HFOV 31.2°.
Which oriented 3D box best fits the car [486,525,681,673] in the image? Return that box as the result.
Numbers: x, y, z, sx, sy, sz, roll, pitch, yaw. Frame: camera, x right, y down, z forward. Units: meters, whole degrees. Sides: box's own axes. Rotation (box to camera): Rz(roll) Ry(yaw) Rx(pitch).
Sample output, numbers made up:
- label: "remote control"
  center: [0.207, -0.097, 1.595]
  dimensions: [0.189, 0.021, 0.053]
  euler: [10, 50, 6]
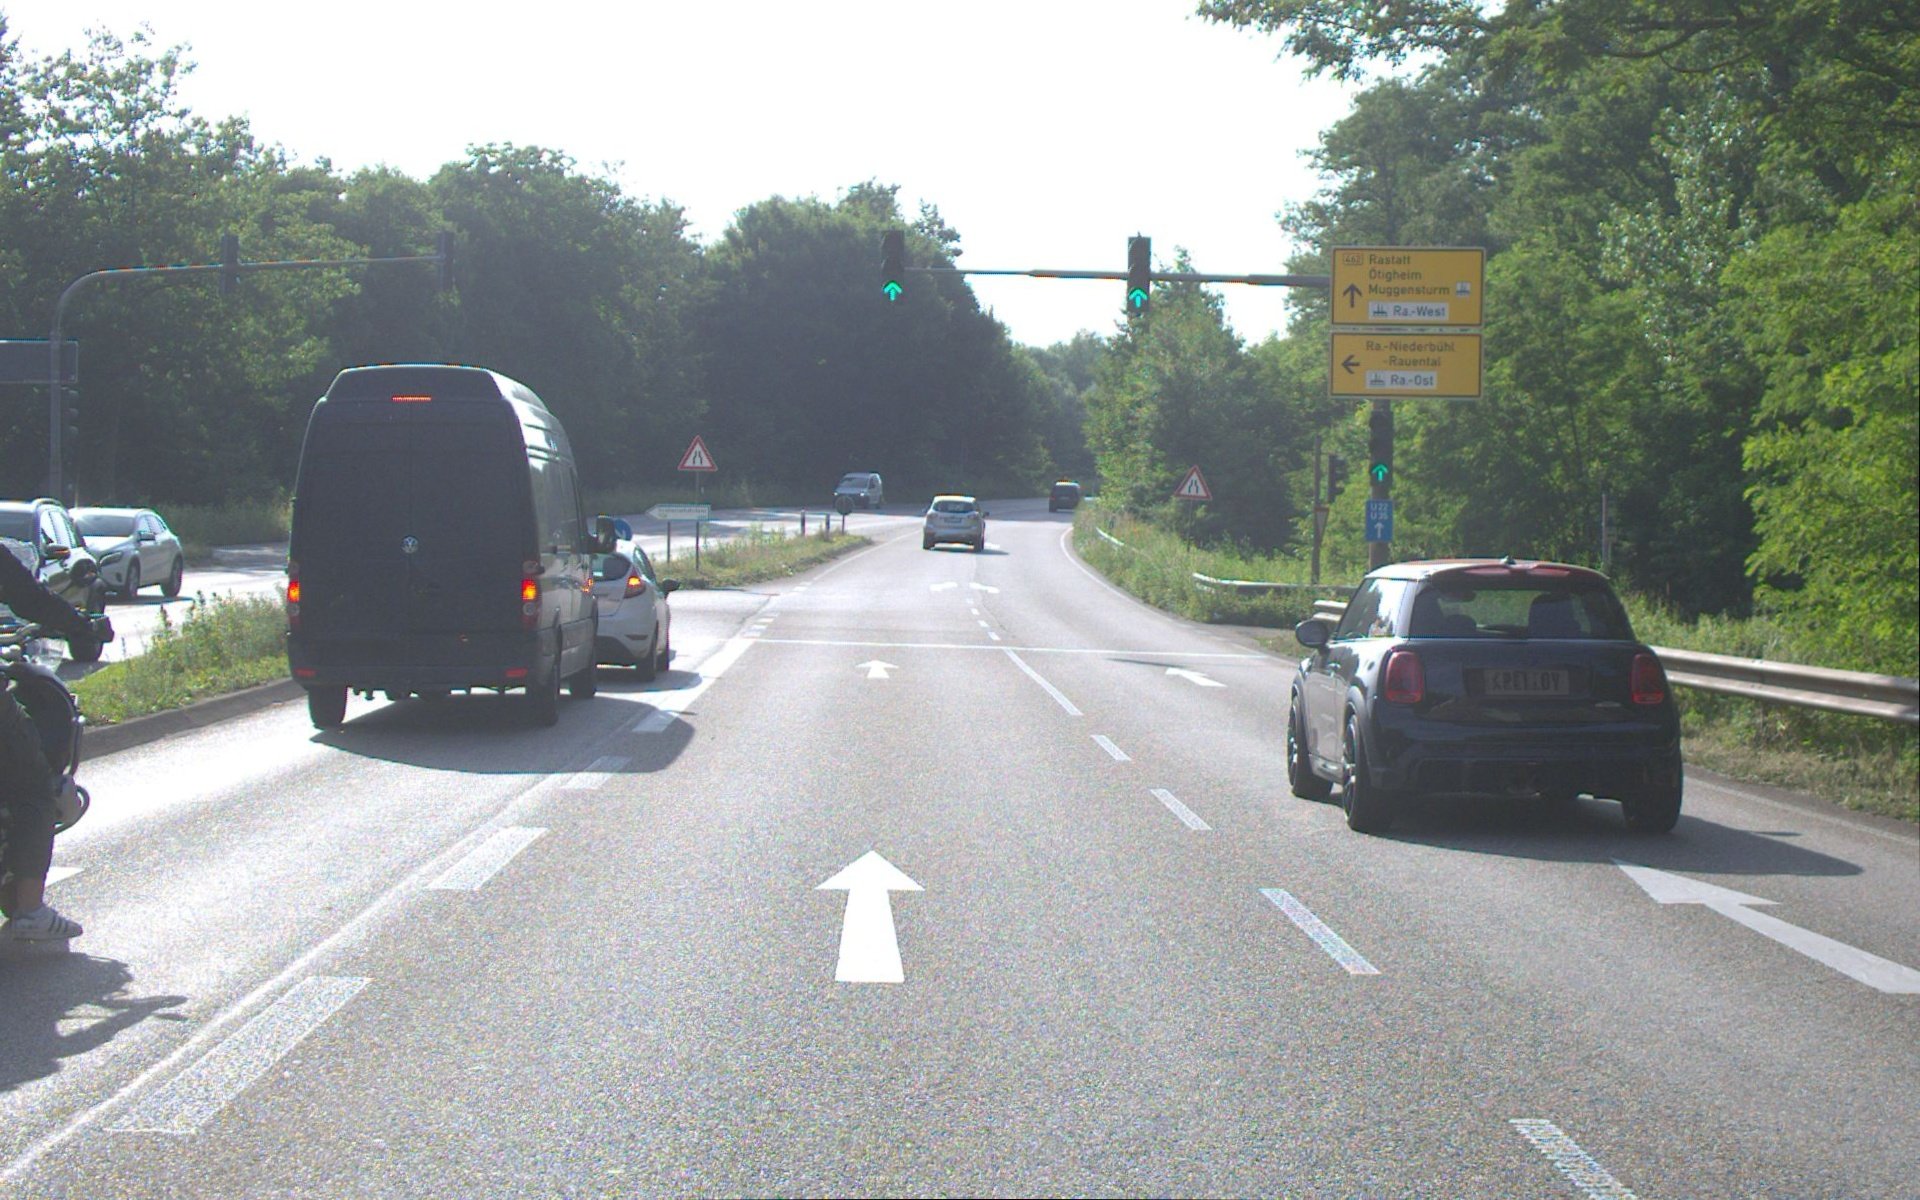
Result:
- label: "car"
  center: [-3.951, -0.055, 36.622]
  dimensions: [1.645, 1.484, 4.104]
  euler: [0, 1, 0]

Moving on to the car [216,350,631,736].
- label: "car"
  center: [-4.335, -0.507, 29.145]
  dimensions: [2.210, 2.878, 7.011]
  euler: [0, 1, 2]

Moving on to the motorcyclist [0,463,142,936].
- label: "motorcyclist"
  center: [-3.607, 0.307, 12.374]
  dimensions: [0.884, 1.610, 1.290]
  euler: [3, 1, 4]

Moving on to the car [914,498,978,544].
- label: "car"
  center: [-0.422, -2.483, 108.146]
  dimensions: [1.761, 1.375, 3.971]
  euler: [2, 1, 3]

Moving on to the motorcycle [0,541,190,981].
- label: "motorcycle"
  center: [-3.630, 0.542, 12.345]
  dimensions: [0.909, 1.448, 2.688]
  euler: [-2, 1, 4]

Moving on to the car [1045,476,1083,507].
- label: "car"
  center: [5.606, -5.836, 185.431]
  dimensions: [1.744, 1.532, 3.926]
  euler: [3, 1, -2]

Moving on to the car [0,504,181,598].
- label: "car"
  center: [-14.348, -0.834, 56.937]
  dimensions: [1.883, 1.498, 4.265]
  euler: [0, 1, 0]

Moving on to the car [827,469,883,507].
- label: "car"
  center: [-5.285, -5.633, 173.696]
  dimensions: [1.851, 1.780, 4.668]
  euler: [3, 1, 9]

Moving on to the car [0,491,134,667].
- label: "car"
  center: [-10.413, -0.261, 36.742]
  dimensions: [2.076, 1.757, 4.757]
  euler: [0, 1, -1]

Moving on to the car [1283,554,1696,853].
- label: "car"
  center: [2.872, 0.501, 19.428]
  dimensions: [1.820, 1.462, 3.873]
  euler: [1, 1, 2]
